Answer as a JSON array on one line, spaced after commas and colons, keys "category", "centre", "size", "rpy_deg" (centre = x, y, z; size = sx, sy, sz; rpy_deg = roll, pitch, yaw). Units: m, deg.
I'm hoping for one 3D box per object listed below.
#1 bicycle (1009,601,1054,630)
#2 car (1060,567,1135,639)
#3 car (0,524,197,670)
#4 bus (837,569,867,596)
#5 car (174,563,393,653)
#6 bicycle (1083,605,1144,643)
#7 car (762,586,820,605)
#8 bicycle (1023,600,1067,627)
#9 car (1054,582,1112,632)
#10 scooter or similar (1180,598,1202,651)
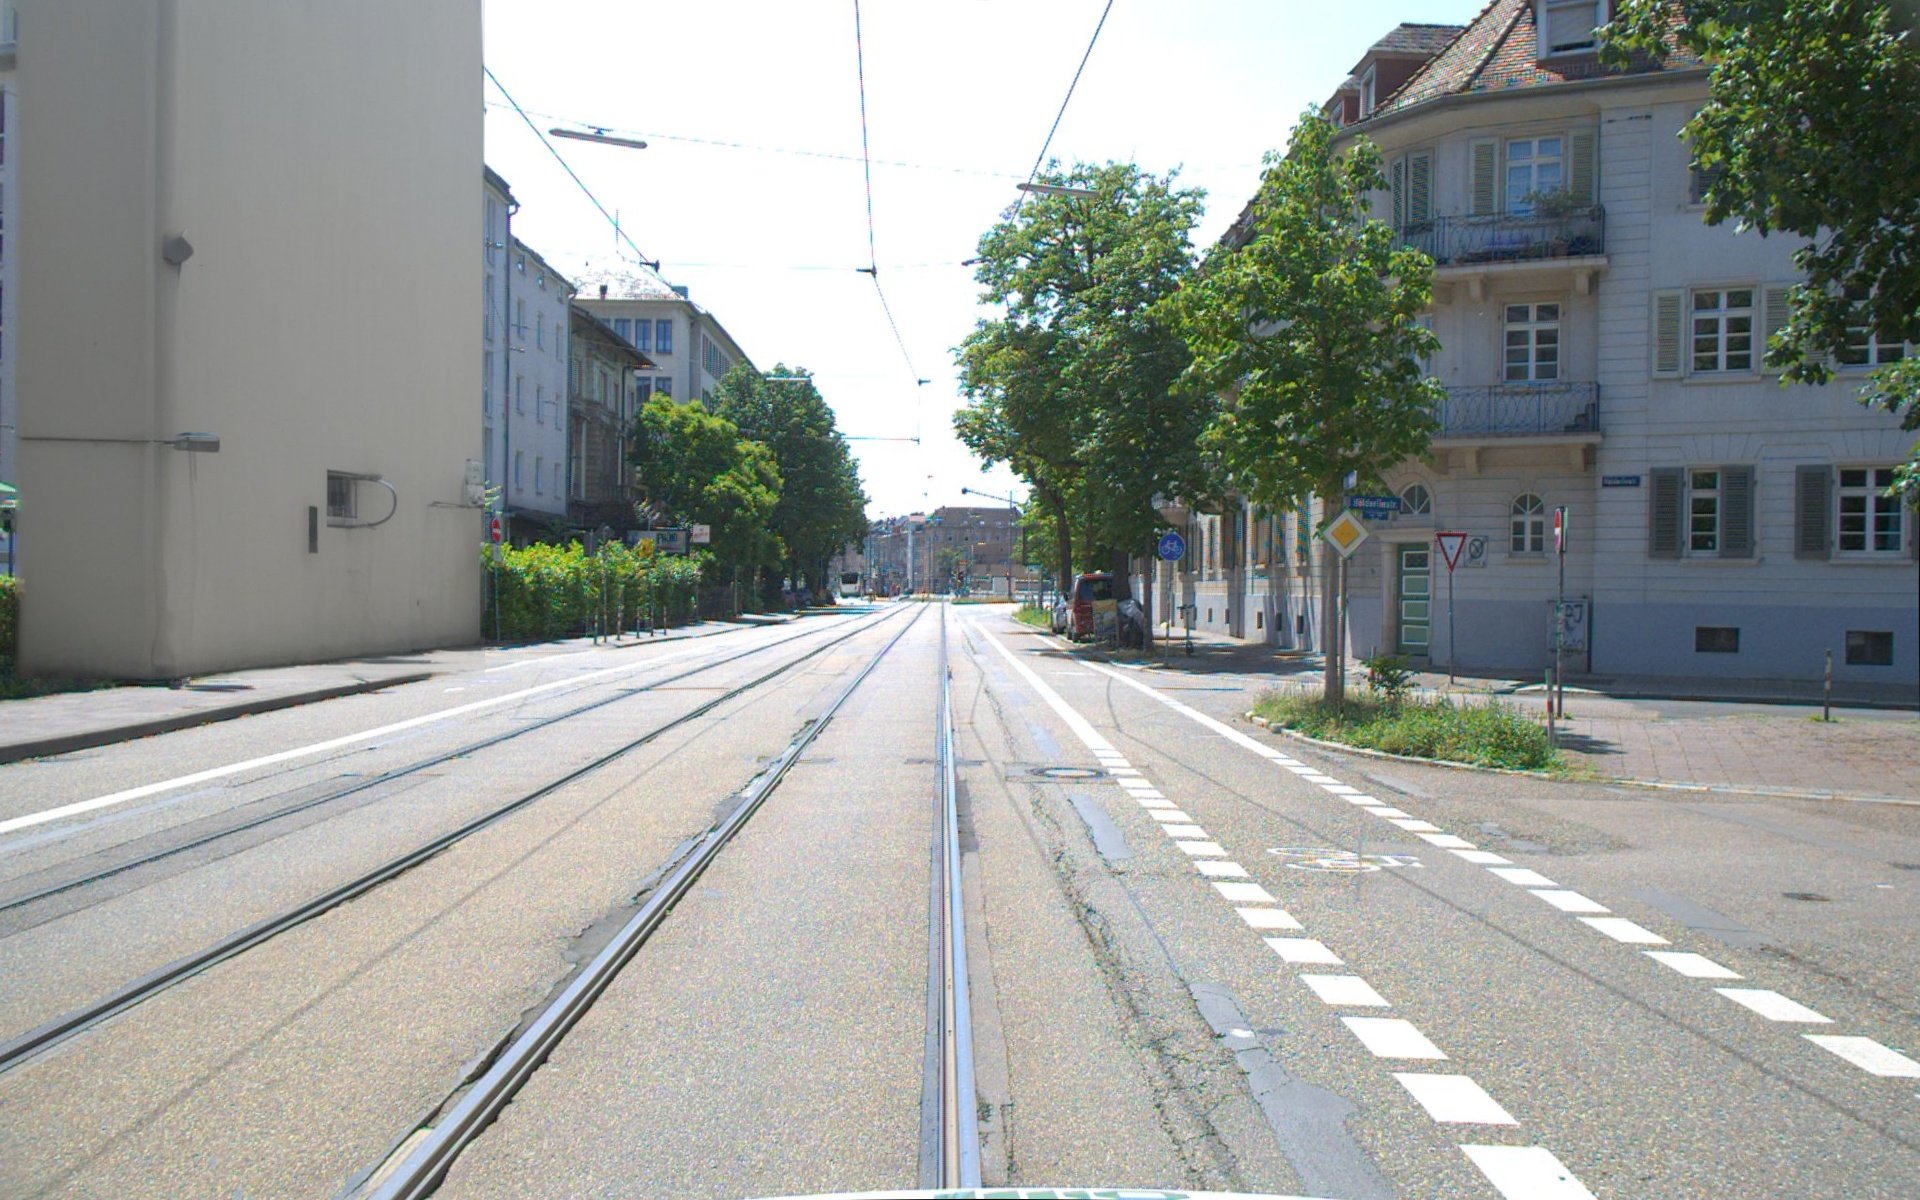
[{"category": "bicycle", "centre": [2.624, 0.566, 60.975], "size": [1.624, 1.033, 0.371], "rpy_deg": [1, 0, 0]}, {"category": "car", "centre": [4.145, 0.098, 50.476], "size": [1.821, 2.049, 4.975], "rpy_deg": [1, 0, 0]}, {"category": "car", "centre": [-17.817, -0.079, 31.757], "size": [2.075, 2.635, 6.192], "rpy_deg": [0, 0, 18]}, {"category": "bus", "centre": [-13.741, -2.165, 211.361], "size": [2.949, 3.213, 17.494], "rpy_deg": [1, 0, -1]}, {"category": "car", "centre": [-16.107, 0.151, 39.410], "size": [4.593, 2.019, 2.157], "rpy_deg": [1, 1, 20]}, {"category": "bicycle", "centre": [4.304, 0.682, 46.442], "size": [1.664, 1.039, 0.364], "rpy_deg": [0, 0, -7]}, {"category": "car", "centre": [-12.328, -0.345, 120.526], "size": [3.873, 1.398, 1.655], "rpy_deg": [0, 1, -27]}, {"category": "bicycle", "centre": [3.207, 0.508, 62.474], "size": [1.624, 1.033, 0.371], "rpy_deg": [0, 0, 0]}, {"category": "car", "centre": [4.299, 0.217, 58.370], "size": [1.821, 1.604, 4.879], "rpy_deg": [1, 1, 2]}, {"category": "scooter or similar", "centre": [5.350, 0.557, 38.405], "size": [0.289, 1.181, 1.252], "rpy_deg": [1, 0, -2]}]
